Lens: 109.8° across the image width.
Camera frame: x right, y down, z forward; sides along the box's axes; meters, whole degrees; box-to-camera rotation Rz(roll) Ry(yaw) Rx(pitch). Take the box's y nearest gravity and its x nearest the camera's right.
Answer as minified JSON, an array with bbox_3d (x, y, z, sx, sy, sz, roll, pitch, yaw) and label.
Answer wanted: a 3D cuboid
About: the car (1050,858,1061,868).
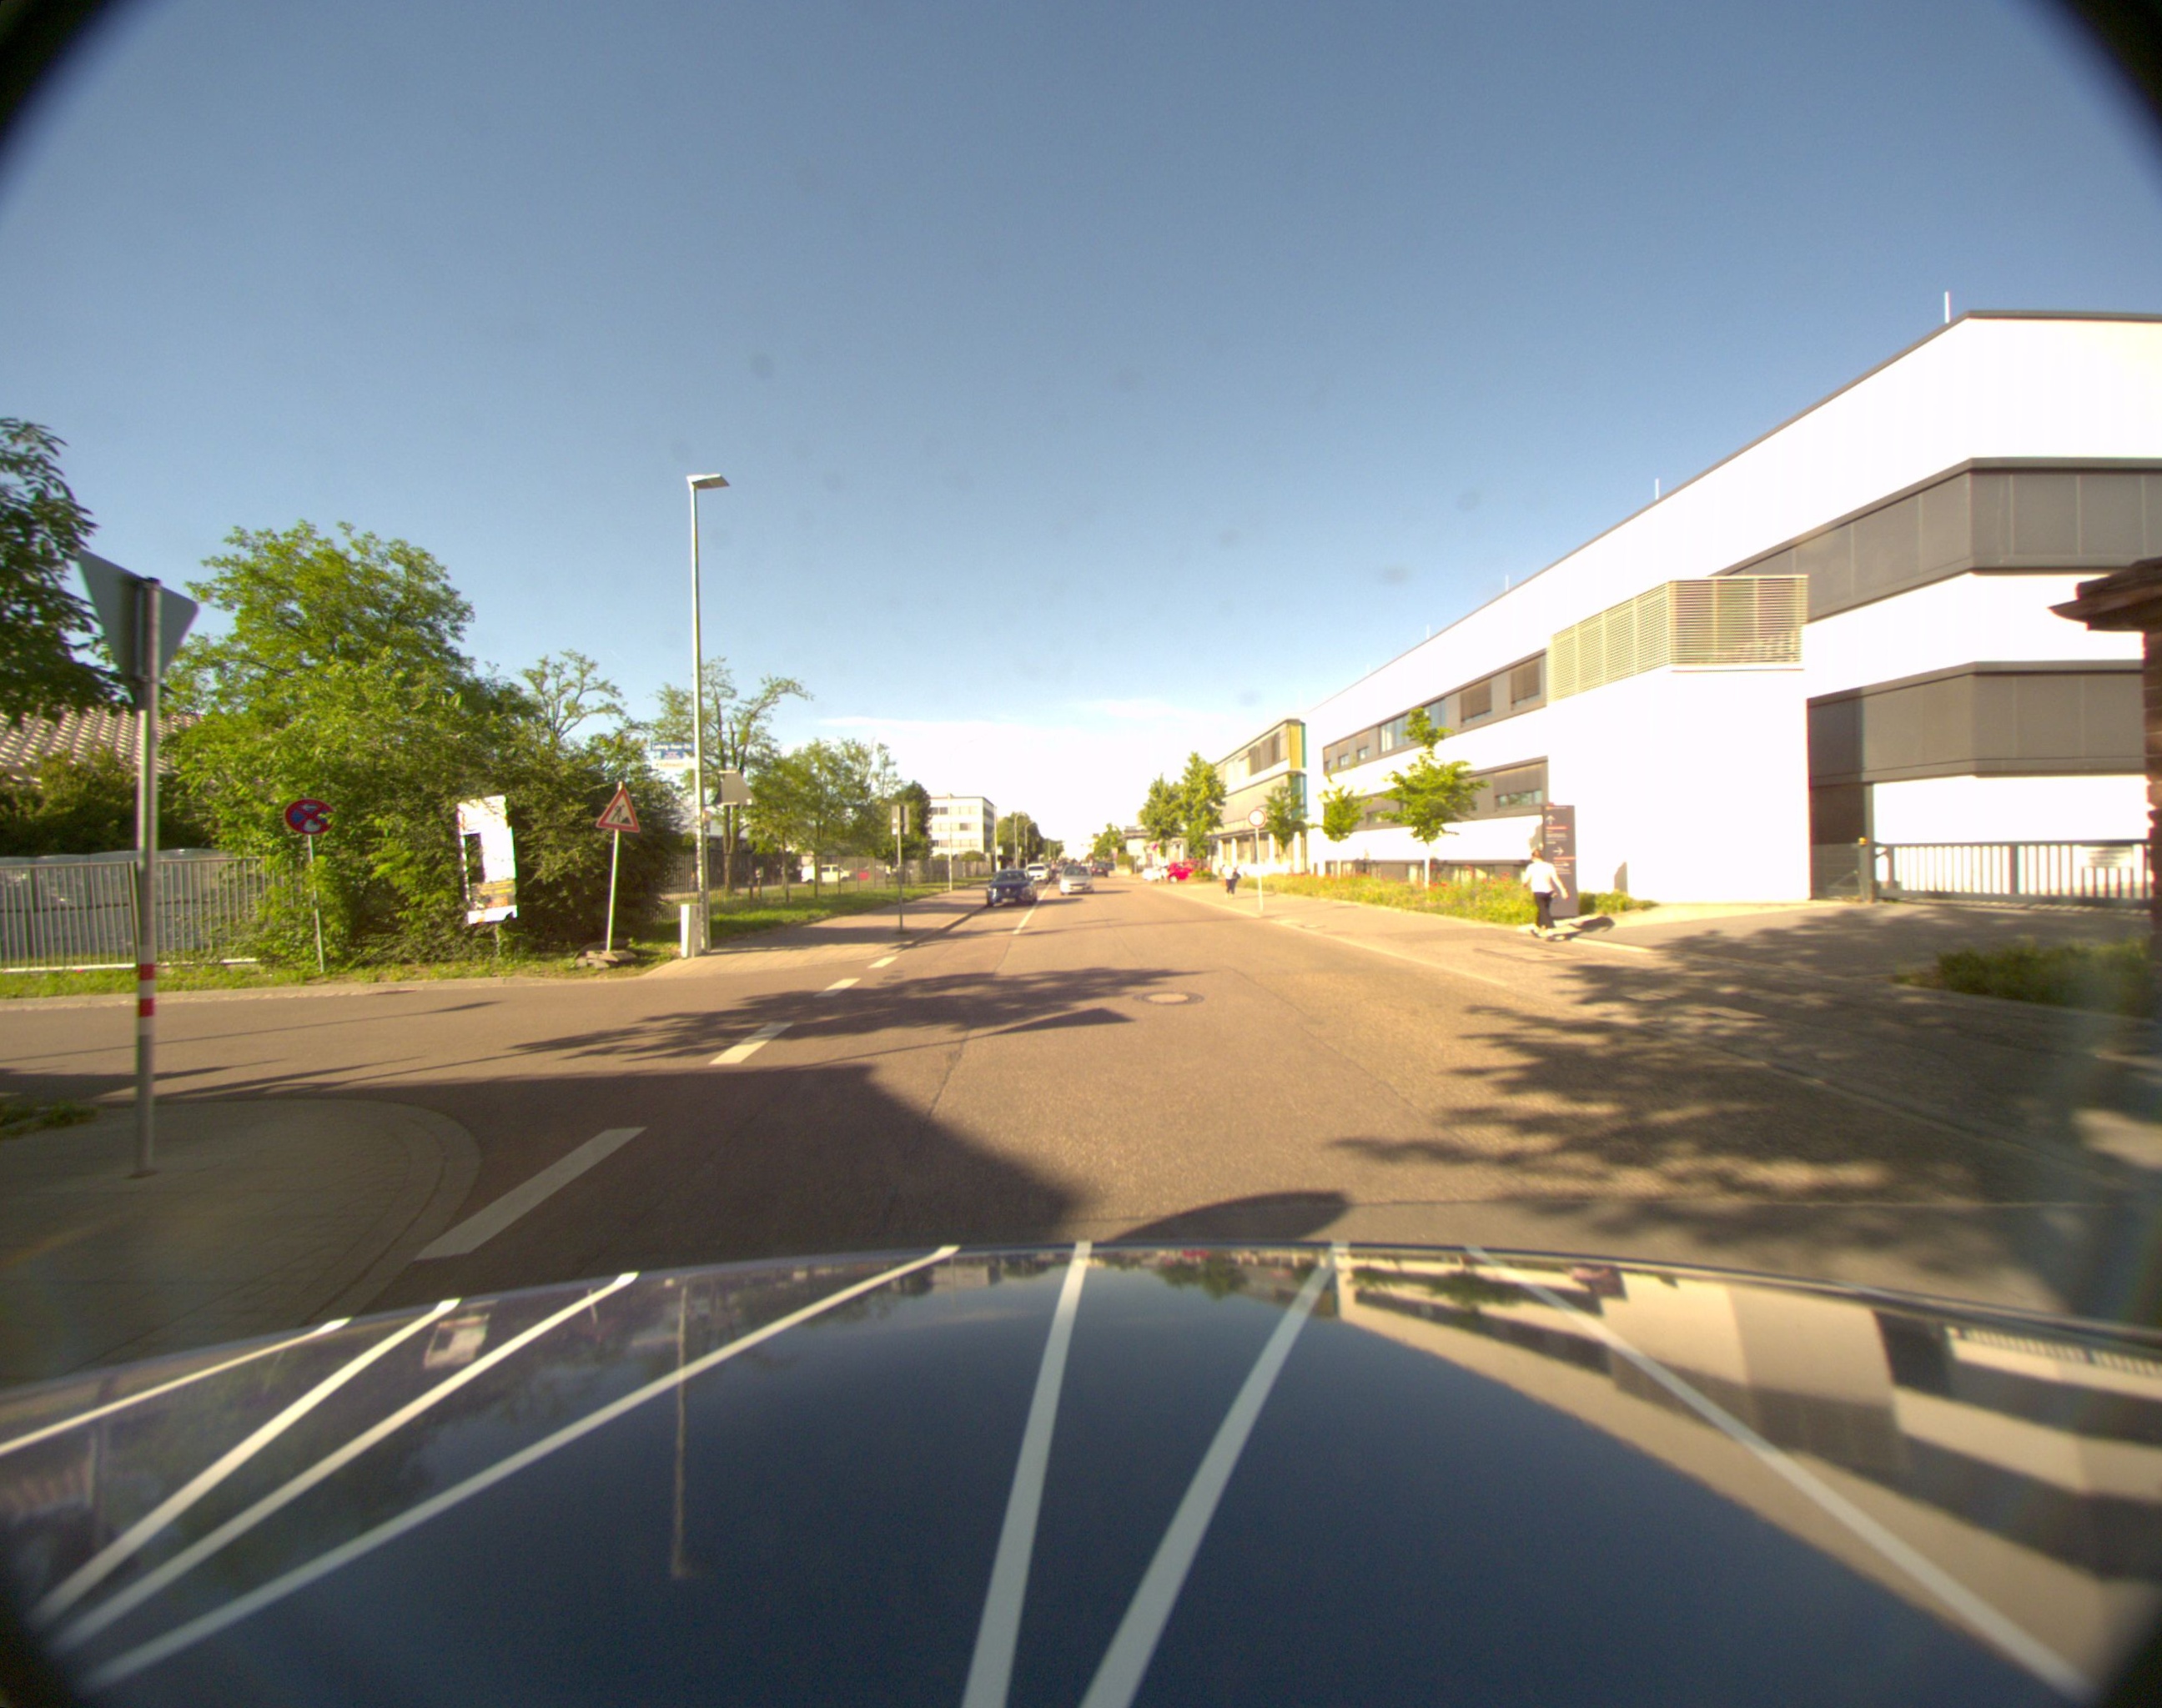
[{"bbox_3d":[-4.429,1.575,131.523,1.669,1.505,4.114,-3,0,0],"label":"car"}]

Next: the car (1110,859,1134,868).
[{"bbox_3d":[7.249,1.718,135.511,4.142,1.458,1.753,-2,0,-2],"label":"car"}]

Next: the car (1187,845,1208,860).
[{"bbox_3d":[15.444,-0.157,100.767,1.924,1.880,4.711,-1,0,-1],"label":"car"}]

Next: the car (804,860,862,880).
[{"bbox_3d":[-24.605,1.582,75.494,4.980,1.635,2.095,-3,0,-4],"label":"car"}]

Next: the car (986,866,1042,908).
[{"bbox_3d":[-2.656,1.289,30.828,1.822,1.444,4.214,-2,0,0],"label":"car"}]

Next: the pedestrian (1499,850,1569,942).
[{"bbox_3d":[8.021,0.719,13.488,0.522,1.553,1.096,-2,0,-2],"label":"pedestrian"}]

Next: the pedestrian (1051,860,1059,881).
[{"bbox_3d":[-2.080,1.301,60.123,0.522,1.699,0.522,-3,1,-8],"label":"pedestrian"}]

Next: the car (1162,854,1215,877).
[{"bbox_3d":[7.642,0.841,54.217,3.642,1.460,1.615,-3,0,6],"label":"car"}]

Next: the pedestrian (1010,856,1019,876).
[{"bbox_3d":[-5.580,0.993,63.901,0.540,1.602,0.683,-3,1,0],"label":"pedestrian"}]

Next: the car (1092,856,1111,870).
[{"bbox_3d":[2.171,0.952,82.491,1.767,1.433,4.536,-2,0,-3],"label":"car"}]

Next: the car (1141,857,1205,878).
[{"bbox_3d":[6.796,0.984,56.481,4.522,1.359,1.700,-2,0,2],"label":"car"}]

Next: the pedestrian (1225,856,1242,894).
[{"bbox_3d":[6.257,0.855,31.138,0.539,1.515,0.607,-2,1,0],"label":"pedestrian"}]

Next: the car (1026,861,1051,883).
[{"bbox_3d":[-3.285,1.349,59.085,1.818,1.579,4.261,-3,0,-3],"label":"car"}]

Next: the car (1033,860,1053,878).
[{"bbox_3d":[-3.366,1.303,66.819,1.705,1.478,3.979,-3,0,-4],"label":"car"}]

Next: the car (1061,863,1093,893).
[{"bbox_3d":[-0.178,1.220,39.073,1.551,1.389,3.454,-2,0,0],"label":"car"}]

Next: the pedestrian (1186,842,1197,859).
[{"bbox_3d":[10.136,-0.337,69.789,0.775,1.540,0.780,-3,1,-1],"label":"pedestrian"}]

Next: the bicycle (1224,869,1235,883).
[{"bbox_3d":[12.451,1.859,63.607,0.536,1.105,1.861,-1,0,1],"label":"bicycle"}]
